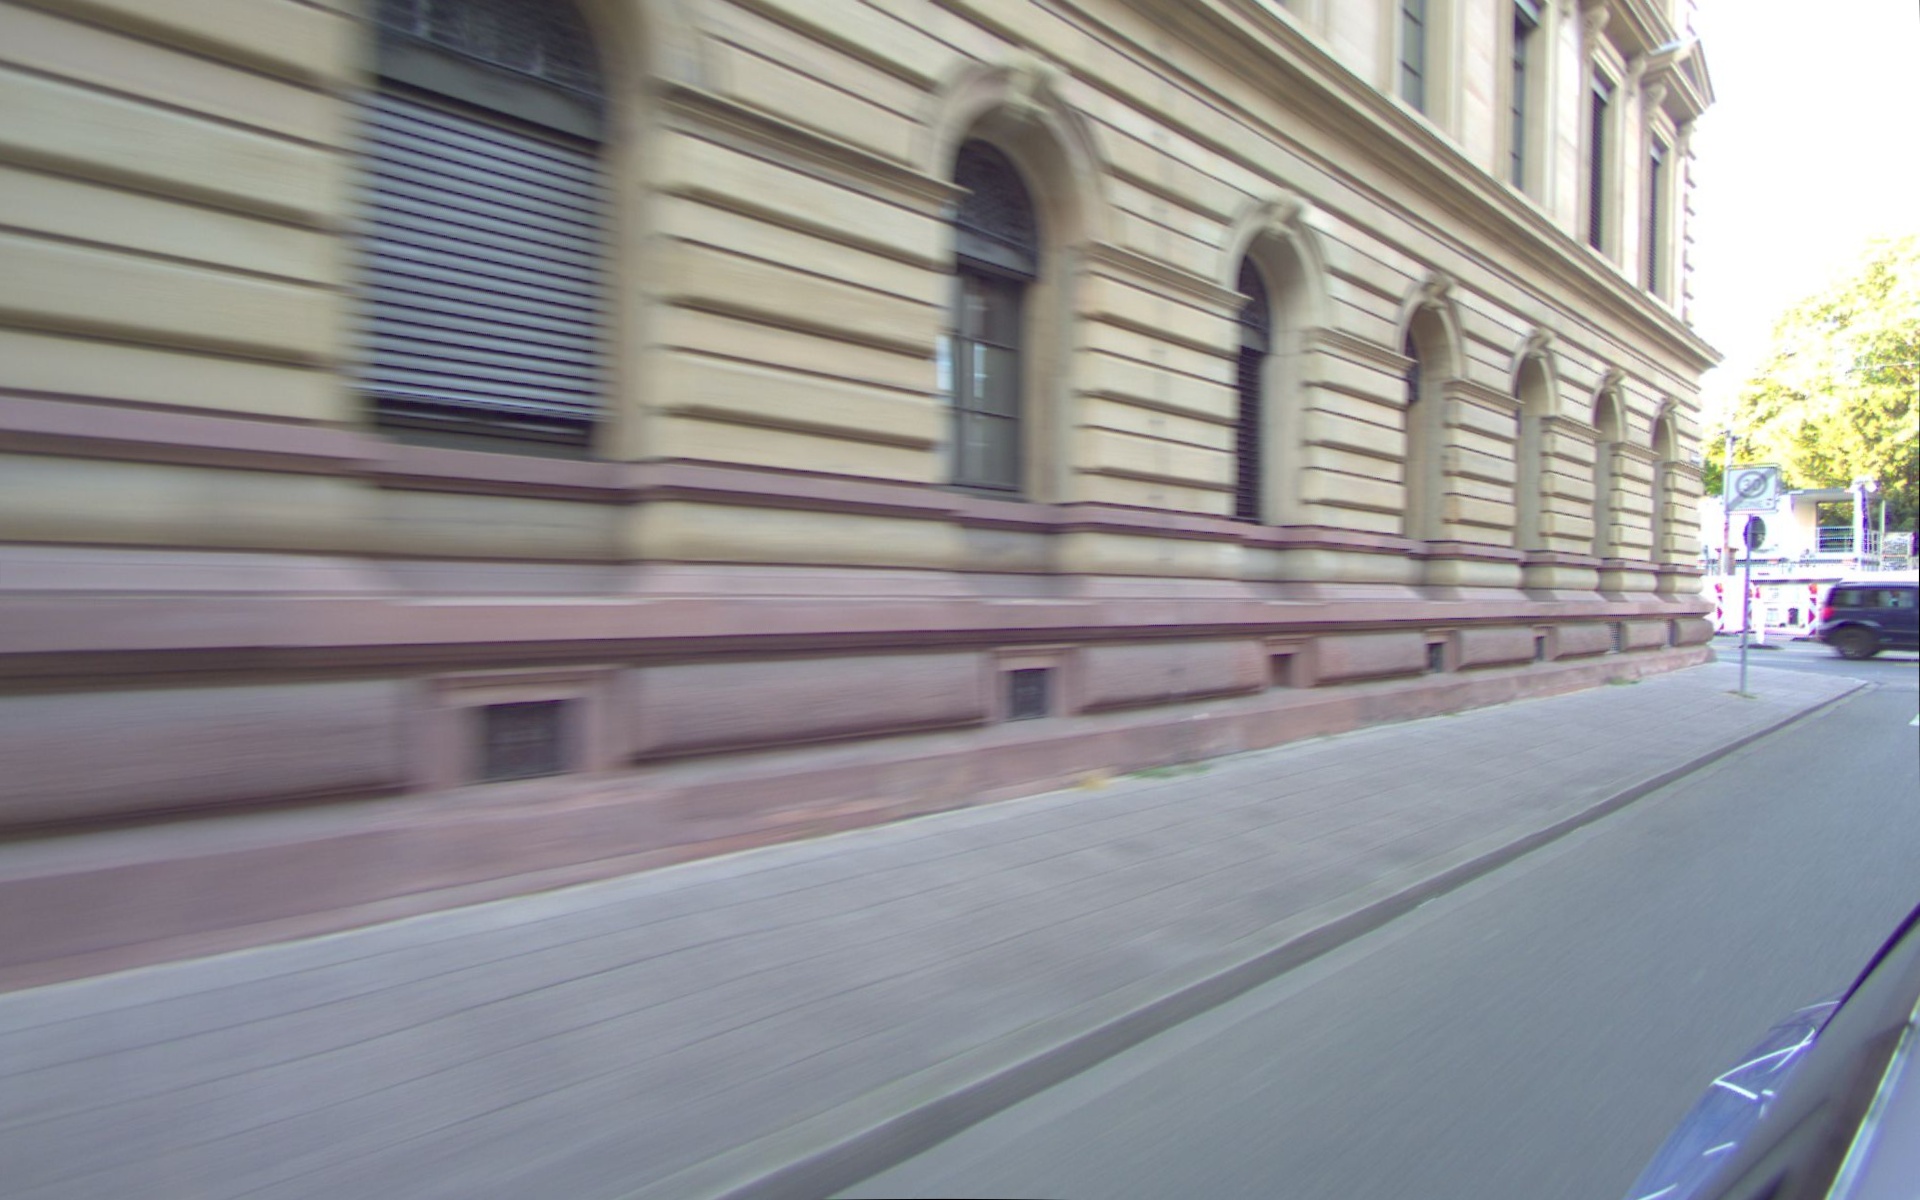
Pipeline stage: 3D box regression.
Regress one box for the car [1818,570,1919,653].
[{"bbox_3d":[20.607,0.228,20.820,1.901,1.678,4.249,-1,1,-38],"label":"car"}]
